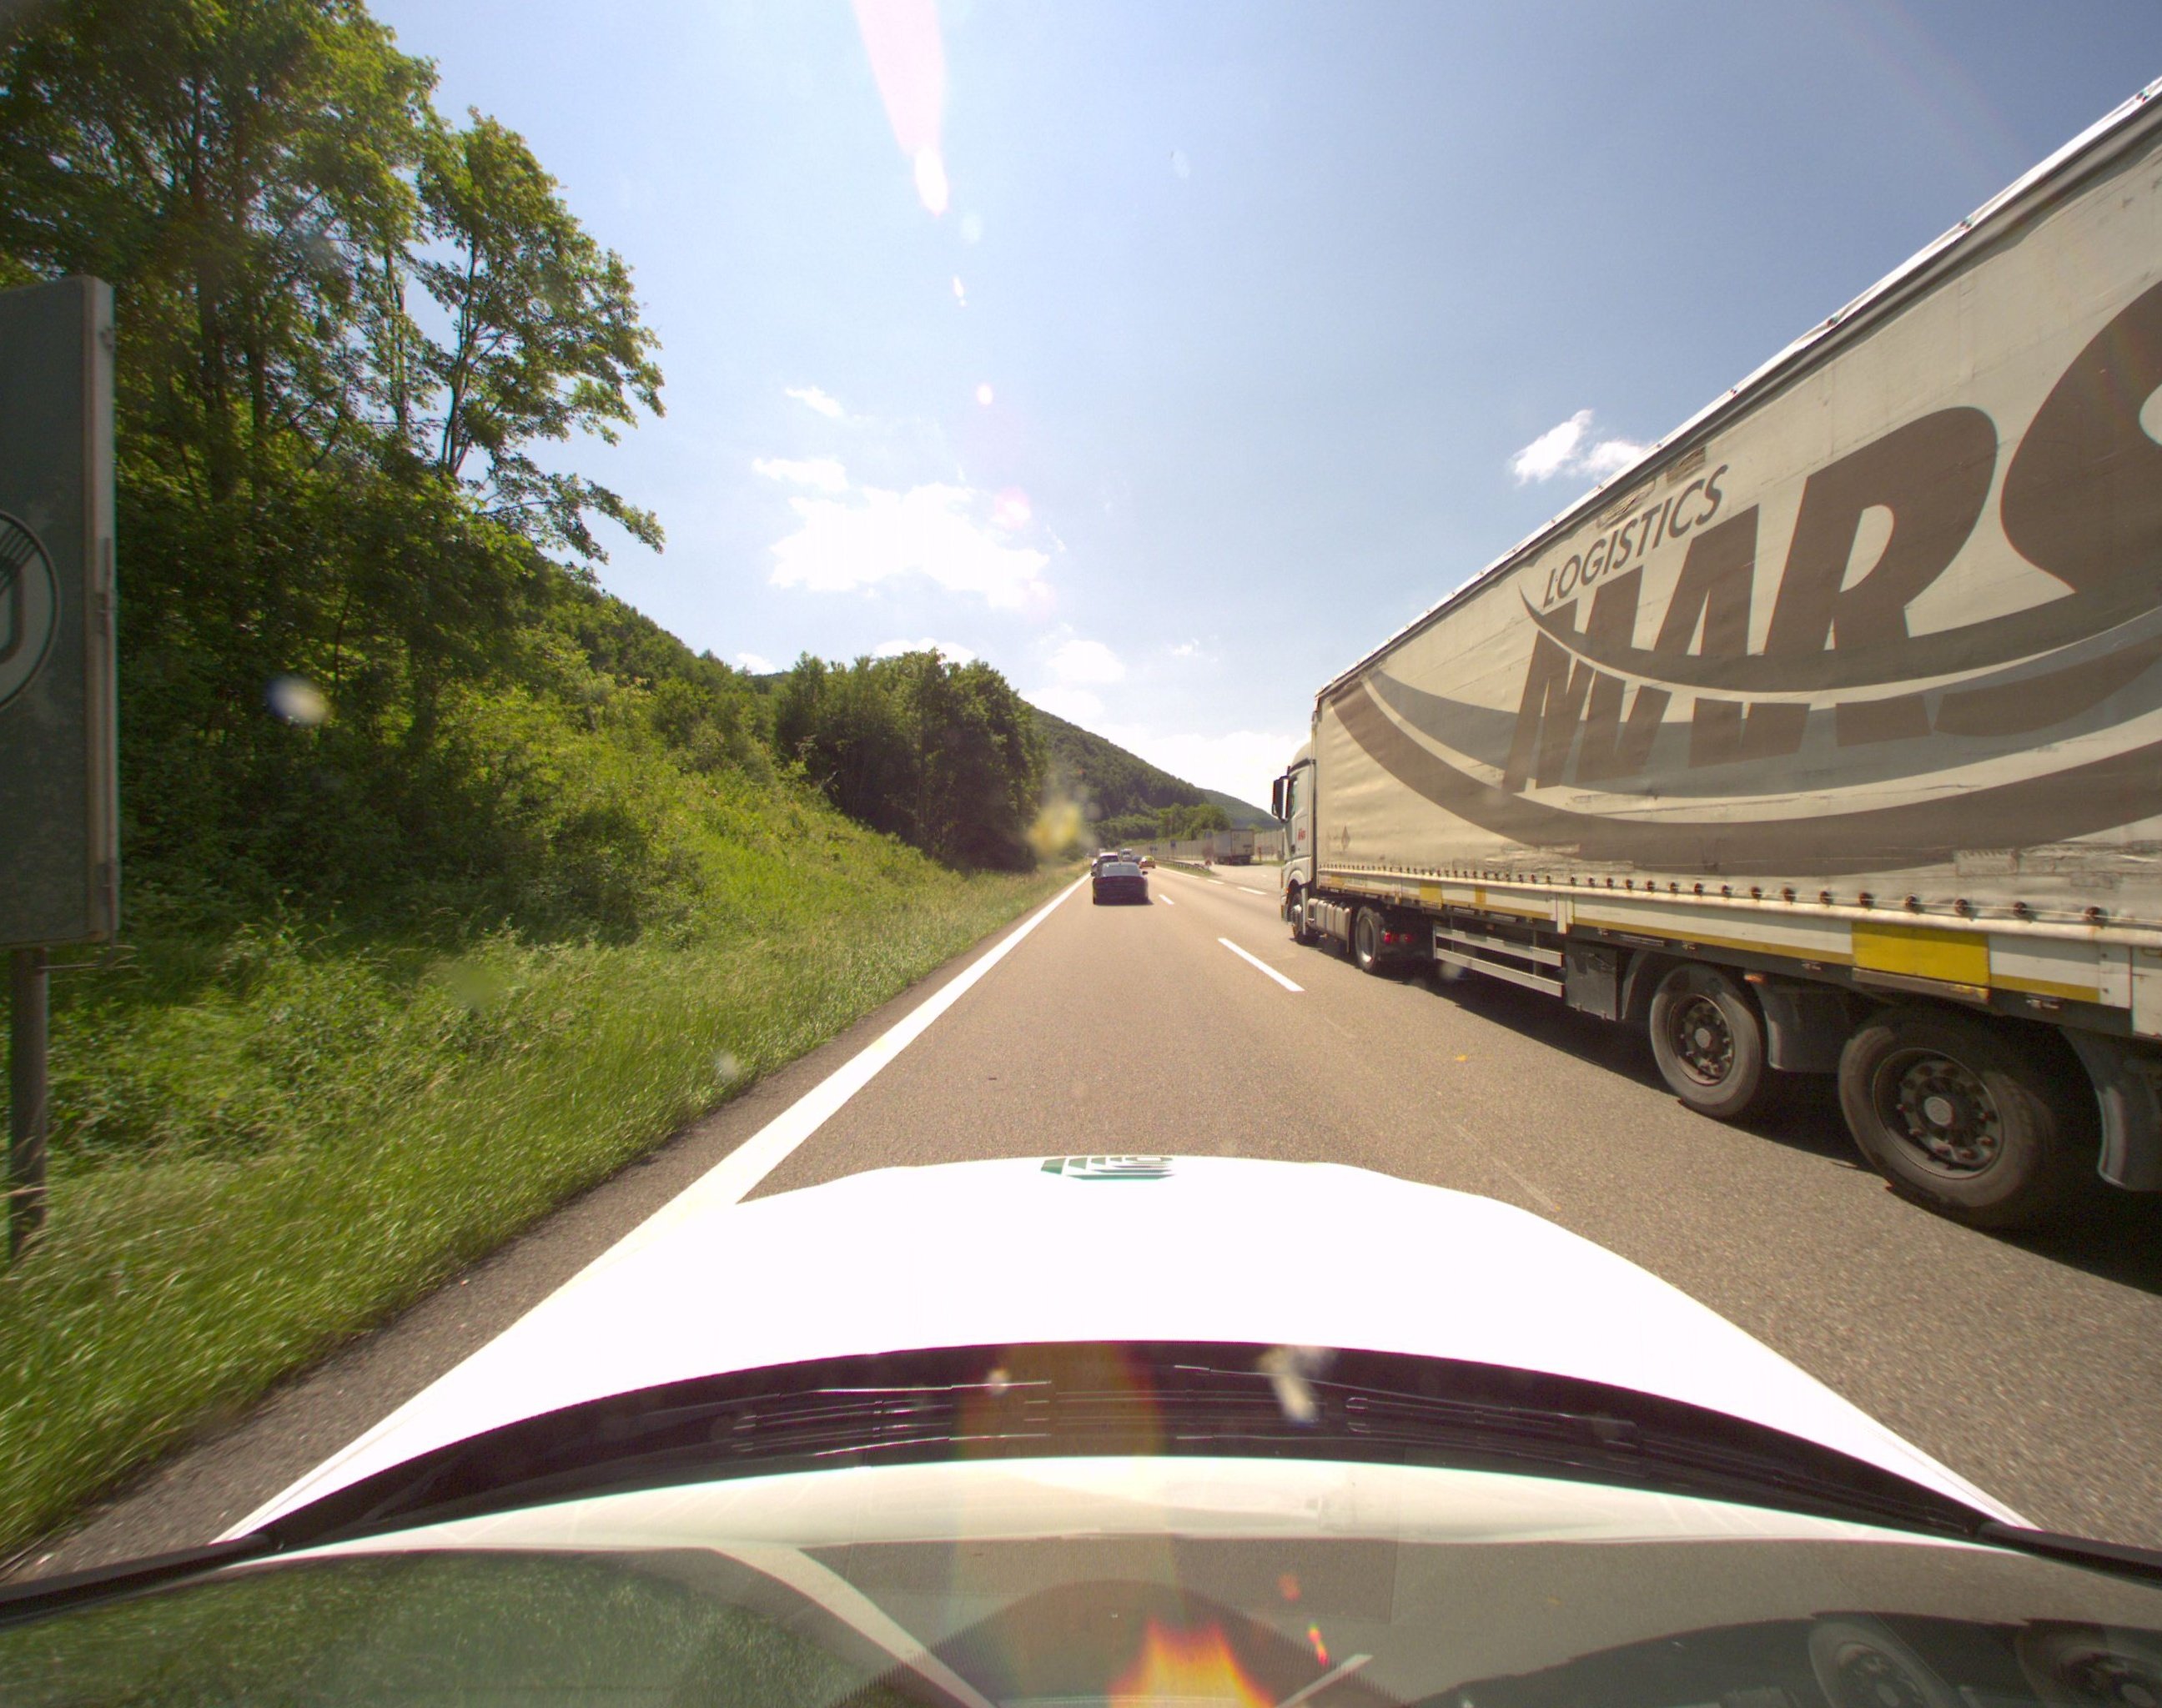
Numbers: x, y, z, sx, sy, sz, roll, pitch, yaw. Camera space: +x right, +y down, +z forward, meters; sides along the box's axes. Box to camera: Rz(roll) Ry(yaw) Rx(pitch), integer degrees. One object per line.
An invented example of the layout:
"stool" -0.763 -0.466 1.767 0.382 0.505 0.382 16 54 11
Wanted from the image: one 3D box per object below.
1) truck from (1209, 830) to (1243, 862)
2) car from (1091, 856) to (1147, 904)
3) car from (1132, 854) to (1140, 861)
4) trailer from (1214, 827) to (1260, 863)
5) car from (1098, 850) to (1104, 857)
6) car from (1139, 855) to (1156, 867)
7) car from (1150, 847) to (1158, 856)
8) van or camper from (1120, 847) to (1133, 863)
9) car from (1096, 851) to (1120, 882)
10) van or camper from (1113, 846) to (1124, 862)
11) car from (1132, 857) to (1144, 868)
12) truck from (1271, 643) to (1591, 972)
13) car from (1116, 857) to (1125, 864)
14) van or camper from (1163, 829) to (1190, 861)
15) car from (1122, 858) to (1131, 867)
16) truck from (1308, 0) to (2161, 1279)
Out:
"truck" 18.075 -0.946 101.558 3.399 3.900 5.389 -1 0 1
"car" 1.309 0.855 28.340 1.805 1.514 3.516 -1 0 2
"car" 15.011 0.923 221.599 1.987 2.014 4.000 -1 0 0
"trailer" 17.844 -0.962 94.114 3.399 3.900 11.154 -1 0 2
"car" 6.003 -0.073 247.325 1.681 2.014 4.001 -1 0 1
"car" 8.049 0.846 98.497 1.871 1.499 4.002 -1 0 2
"car" 16.499 -0.591 183.212 1.570 2.014 3.429 -1 0 2
"van or camper" 9.590 0.249 171.860 2.420 3.155 5.205 1 -1 2
"car" 1.817 0.824 54.570 1.515 1.968 3.515 1 -1 1
"van or camper" 10.098 0.030 218.984 2.786 3.907 6.165 1 -1 0
"car" 8.216 1.209 117.799 1.524 1.525 3.598 1 -1 2
"truck" 4.997 -0.532 12.951 2.709 4.068 5.755 0 -1 1
"car" 9.751 1.557 199.819 1.986 1.794 4.000 1 -1 1
"van or camper" 12.156 -1.100 103.918 2.786 3.842 6.165 1 -1 0
"car" 7.768 1.489 139.135 1.524 1.525 3.598 1 -1 2
"truck" 4.828 -0.645 6.121 2.716 4.068 13.743 0 -1 1
